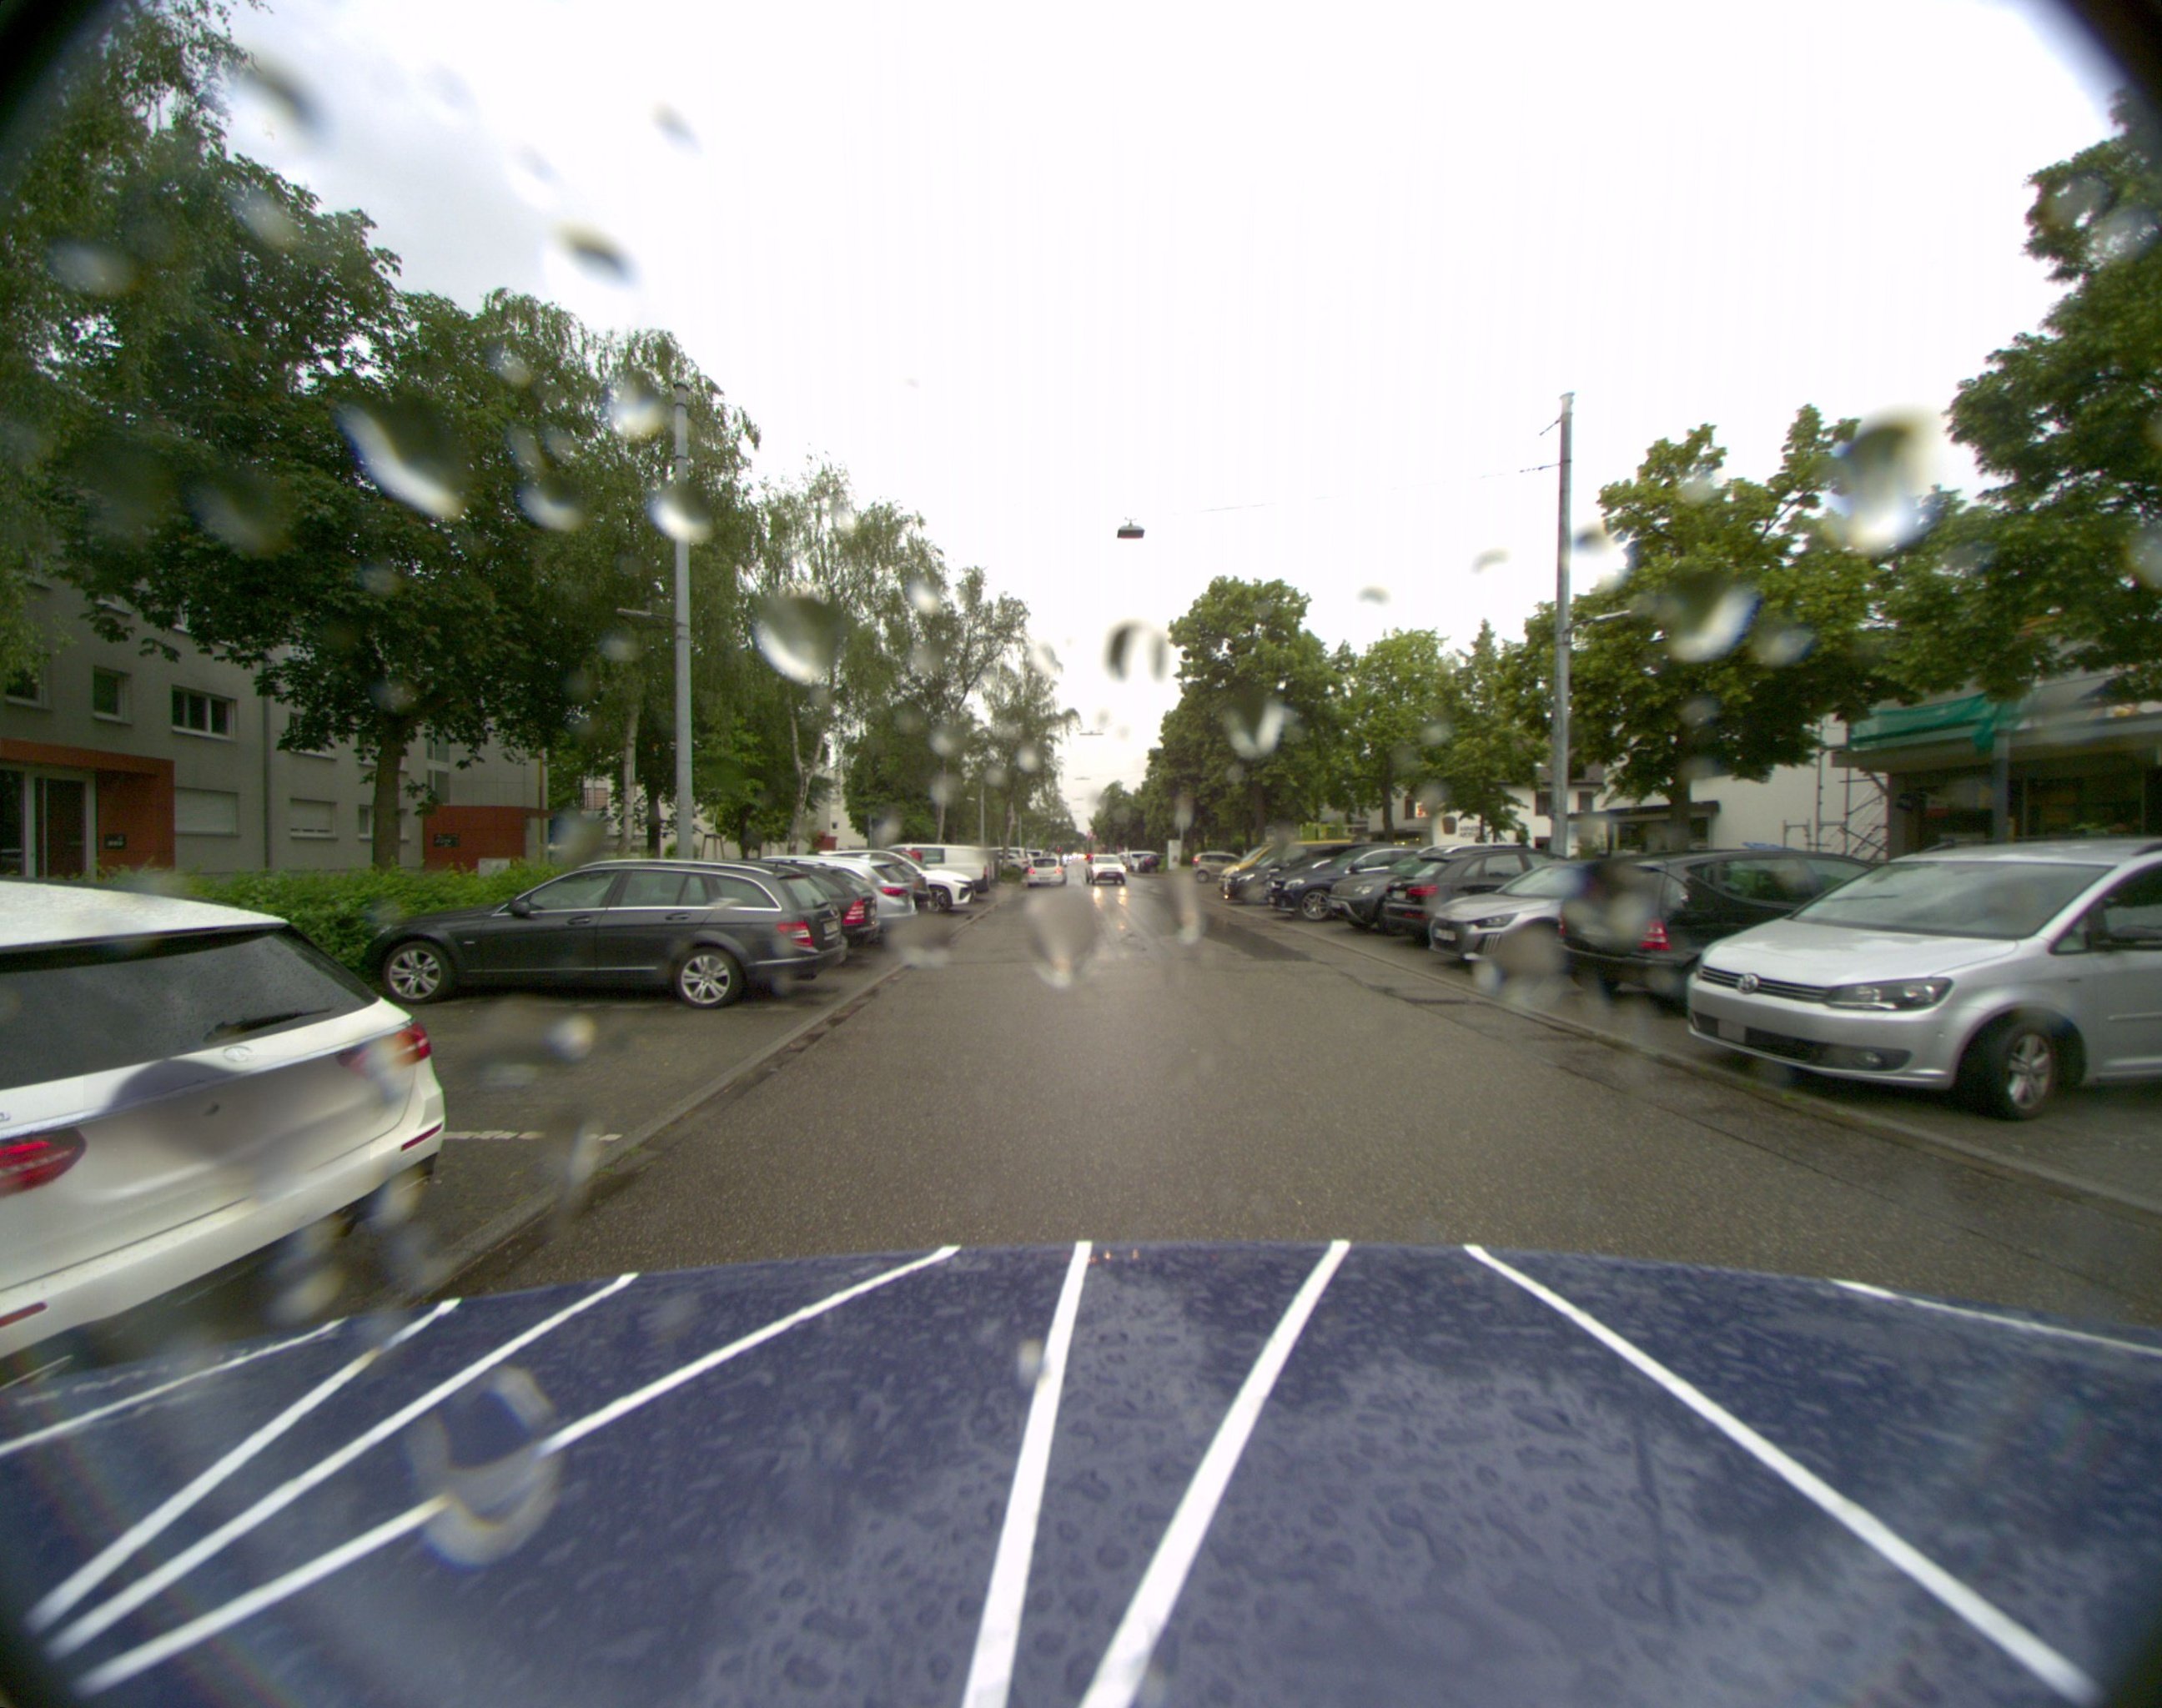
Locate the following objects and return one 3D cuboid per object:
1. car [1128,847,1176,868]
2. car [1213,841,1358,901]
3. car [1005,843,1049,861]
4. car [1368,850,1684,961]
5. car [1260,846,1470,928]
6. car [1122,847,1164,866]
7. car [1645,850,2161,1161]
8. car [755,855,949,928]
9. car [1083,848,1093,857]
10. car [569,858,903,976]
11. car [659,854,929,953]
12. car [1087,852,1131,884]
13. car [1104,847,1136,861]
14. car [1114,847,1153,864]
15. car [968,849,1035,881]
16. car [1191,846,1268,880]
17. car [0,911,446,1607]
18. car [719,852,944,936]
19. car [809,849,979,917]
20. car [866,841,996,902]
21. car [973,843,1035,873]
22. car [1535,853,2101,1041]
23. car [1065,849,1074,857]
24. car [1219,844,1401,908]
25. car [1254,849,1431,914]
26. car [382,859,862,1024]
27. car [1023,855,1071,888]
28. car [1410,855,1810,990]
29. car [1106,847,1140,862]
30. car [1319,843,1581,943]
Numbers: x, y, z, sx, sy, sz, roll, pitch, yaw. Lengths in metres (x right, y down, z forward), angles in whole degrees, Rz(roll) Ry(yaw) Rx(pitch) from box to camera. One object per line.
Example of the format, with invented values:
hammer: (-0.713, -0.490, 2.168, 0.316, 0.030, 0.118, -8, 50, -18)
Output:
car: (6.390, 0.295, 68.830, 3.998, 1.675, 1.999, -2, 1, -3)
car: (7.181, 0.570, 26.932, 4.657, 1.947, 1.715, -2, 1, -2)
car: (-5.286, -0.204, 75.031, 3.995, 1.670, 1.902, -2, 1, 4)
car: (7.264, 0.793, 12.675, 4.283, 1.586, 1.715, -2, 1, -2)
car: (6.604, 0.720, 17.946, 4.283, 1.717, 1.715, -2, 1, -2)
car: (6.174, 0.211, 75.950, 3.998, 1.675, 1.999, -2, 1, -3)
car: (6.619, 0.848, 5.208, 4.283, 1.625, 1.715, -2, 1, -2)
car: (-5.268, 0.842, 17.881, 4.049, 1.488, 1.680, 2, 1, -3)
car: (1.416, -0.333, 161.433, 1.999, 1.617, 3.999, -2, 1, -1)
car: (-4.814, 0.856, 11.052, 4.049, 1.431, 1.680, 2, 1, -3)
car: (-4.858, 0.818, 13.300, 4.049, 1.488, 1.680, 2, 1, -3)
car: (1.404, 0.661, 39.543, 1.734, 1.519, 4.136, -1, 1, -6)
car: (5.202, -0.036, 101.613, 3.998, 1.675, 1.999, -2, 1, -3)
car: (5.784, 0.178, 83.754, 3.998, 1.675, 1.999, -2, 1, -3)
car: (-5.114, 0.690, 49.274, 3.995, 1.902, 1.902, -2, 1, 4)
car: (8.132, 0.507, 41.525, 3.993, 1.677, 1.842, -2, 1, 14)
car: (-4.754, 0.919, 2.063, 4.623, 1.431, 1.680, 2, 1, 0)
car: (-5.000, 0.793, 15.636, 4.049, 1.488, 1.680, 2, 1, -3)
car: (-5.048, 0.757, 20.902, 4.179, 1.609, 1.680, 2, 1, 1)
car: (-5.083, 0.576, 26.188, 4.182, 1.856, 1.679, 2, 1, -6)
car: (-5.461, 0.261, 54.115, 3.995, 1.902, 1.902, -2, 1, 4)
car: (7.256, 0.840, 7.760, 4.283, 1.556, 1.635, -2, 1, -2)
car: (-2.899, -0.265, 188.032, 1.998, 1.804, 3.999, -2, 1, 1)
car: (7.113, 0.646, 23.860, 5.177, 1.789, 1.715, -2, 1, -2)
car: (7.160, 0.723, 21.078, 4.283, 1.617, 1.715, -2, 1, -2)
car: (-4.610, 0.856, 8.118, 4.049, 1.431, 1.680, 2, 1, -3)
car: (-1.622, 0.824, 37.962, 1.998, 1.446, 4.257, -2, 1, 2)
car: (6.991, 0.845, 10.316, 4.283, 1.523, 1.715, -2, 1, -2)
car: (5.217, 0.062, 94.417, 3.998, 1.675, 1.999, -2, 1, -3)
car: (7.085, 0.709, 14.864, 4.283, 1.717, 1.715, -2, 1, -2)
